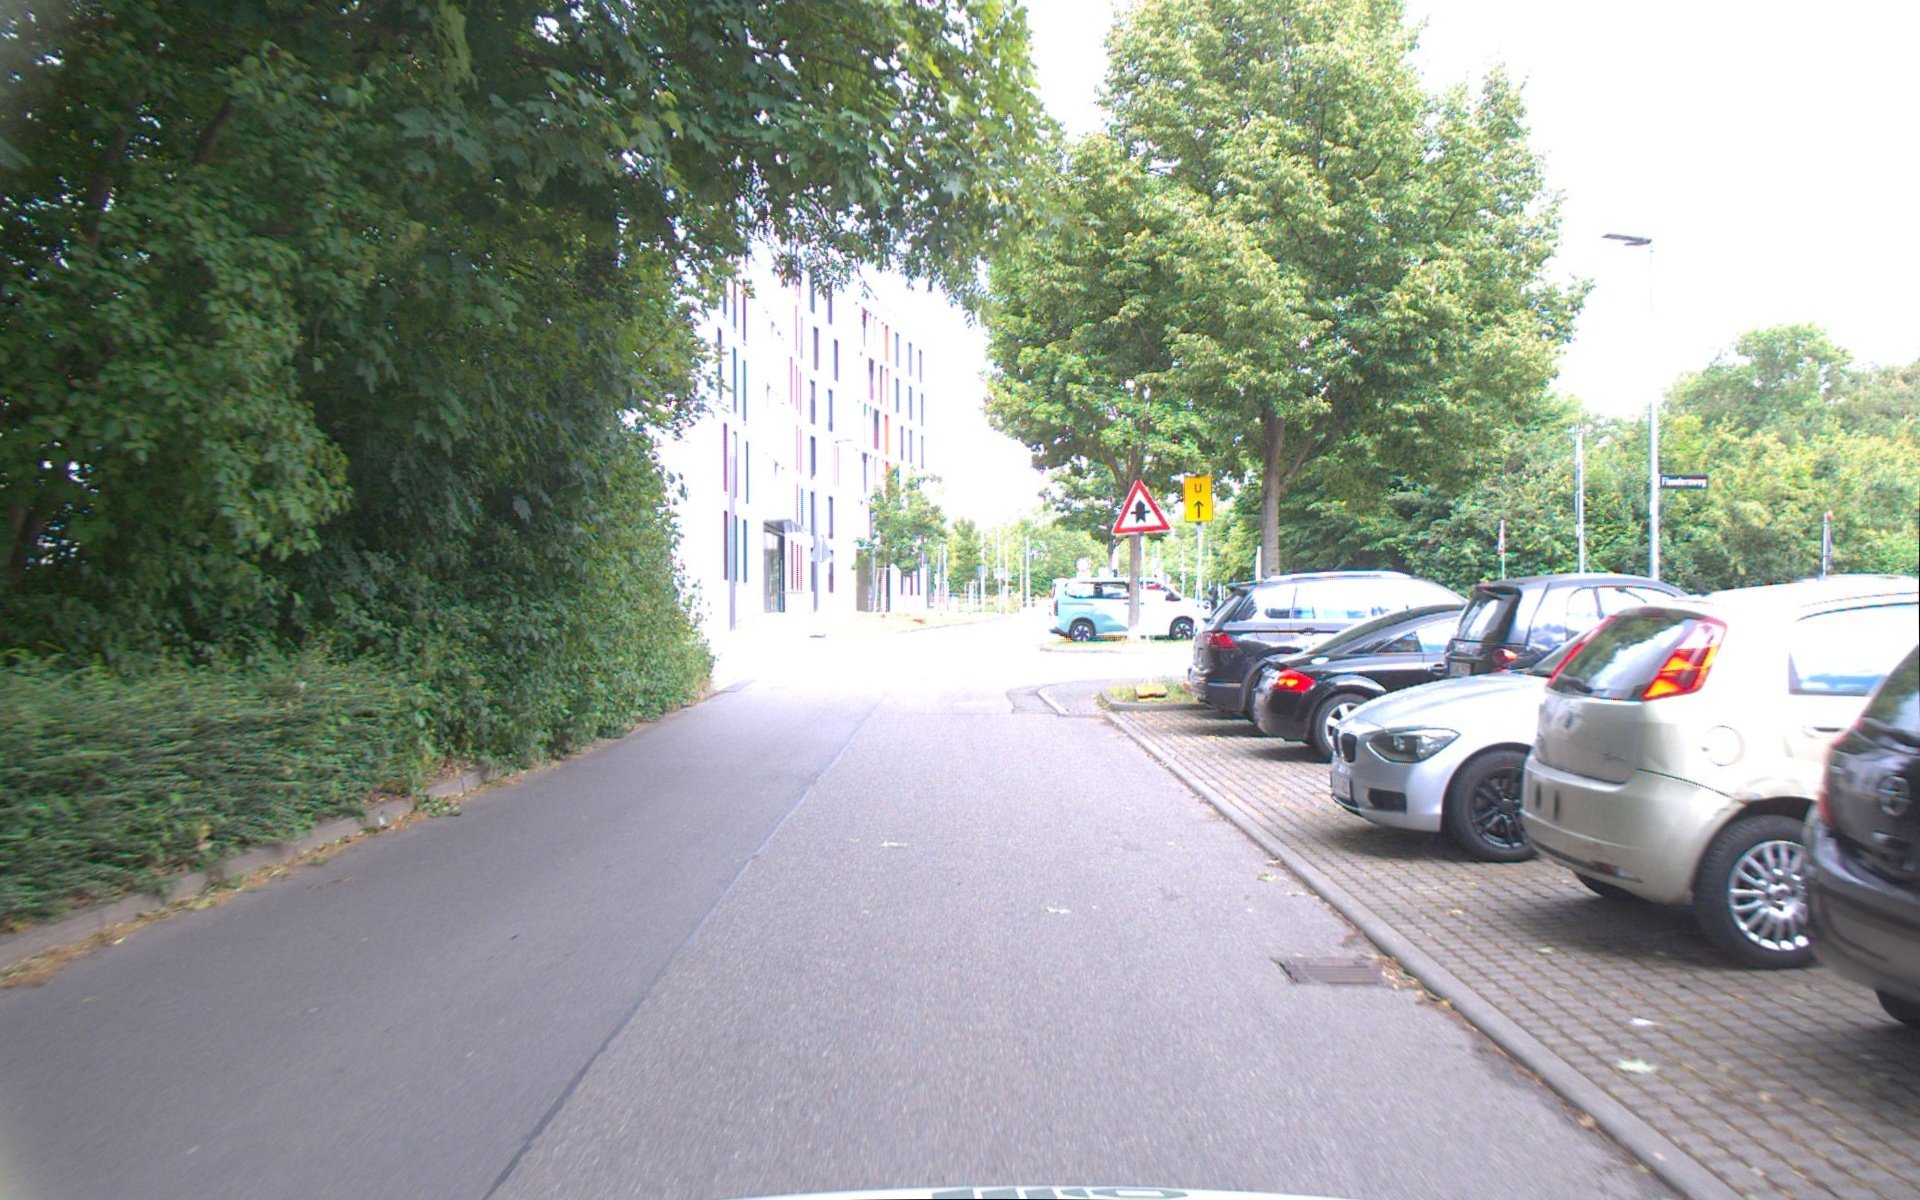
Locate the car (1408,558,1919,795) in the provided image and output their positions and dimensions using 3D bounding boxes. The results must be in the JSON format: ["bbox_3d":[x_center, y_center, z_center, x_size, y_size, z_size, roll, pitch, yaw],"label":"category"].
[{"bbox_3d":[5.563,0.536,12.625,3.754,1.585,1.819,-2,0,0],"label":"car"}]

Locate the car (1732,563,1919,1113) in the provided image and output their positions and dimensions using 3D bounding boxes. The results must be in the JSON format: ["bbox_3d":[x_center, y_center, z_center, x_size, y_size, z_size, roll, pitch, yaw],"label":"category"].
[{"bbox_3d":[4.618,0.591,4.811,3.879,1.537,1.764,-2,0,2],"label":"car"}]

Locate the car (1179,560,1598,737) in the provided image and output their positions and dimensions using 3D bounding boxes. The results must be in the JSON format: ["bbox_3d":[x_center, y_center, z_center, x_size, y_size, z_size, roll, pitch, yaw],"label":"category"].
[{"bbox_3d":[4.483,0.505,17.838,4.037,1.679,1.981,-2,0,4],"label":"car"}]

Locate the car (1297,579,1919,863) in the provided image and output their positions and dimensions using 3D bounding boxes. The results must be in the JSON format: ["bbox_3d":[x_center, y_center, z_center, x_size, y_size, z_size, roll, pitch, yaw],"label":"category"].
[{"bbox_3d":[4.209,0.653,10.027,3.905,1.455,1.935,-2,0,0],"label":"car"}]

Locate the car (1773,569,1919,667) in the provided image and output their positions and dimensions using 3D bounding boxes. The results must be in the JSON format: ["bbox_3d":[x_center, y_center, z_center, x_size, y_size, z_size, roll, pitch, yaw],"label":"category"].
[{"bbox_3d":[16.922,0.313,29.783,3.699,1.697,1.769,-1,0,7],"label":"car"}]

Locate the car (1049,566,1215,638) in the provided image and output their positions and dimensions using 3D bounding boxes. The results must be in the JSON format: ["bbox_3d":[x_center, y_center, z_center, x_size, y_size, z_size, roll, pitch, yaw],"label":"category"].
[{"bbox_3d":[5.215,0.048,50.576,4.870,2.006,1.847,-2,0,1],"label":"car"}]

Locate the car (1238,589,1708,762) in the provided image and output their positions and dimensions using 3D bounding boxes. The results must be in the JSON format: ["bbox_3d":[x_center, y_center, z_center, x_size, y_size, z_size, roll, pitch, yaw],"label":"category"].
[{"bbox_3d":[4.549,0.662,15.128,3.752,1.382,1.823,-2,0,4],"label":"car"}]

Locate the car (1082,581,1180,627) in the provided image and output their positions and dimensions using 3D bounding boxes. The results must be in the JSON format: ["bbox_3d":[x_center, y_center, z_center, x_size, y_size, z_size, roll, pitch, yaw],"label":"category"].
[{"bbox_3d":[7.618,0.168,73.952,4.286,1.937,1.938,1,0,5],"label":"car"}]

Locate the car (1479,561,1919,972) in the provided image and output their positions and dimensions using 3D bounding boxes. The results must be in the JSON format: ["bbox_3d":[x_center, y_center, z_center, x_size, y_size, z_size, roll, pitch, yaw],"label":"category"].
[{"bbox_3d":[4.540,0.606,7.298,3.905,1.554,1.811,-2,0,1],"label":"car"}]

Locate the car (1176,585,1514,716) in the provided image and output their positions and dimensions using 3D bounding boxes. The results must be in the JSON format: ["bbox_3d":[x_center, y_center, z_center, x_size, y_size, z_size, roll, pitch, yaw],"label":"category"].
[{"bbox_3d":[4.662,0.604,20.452,3.753,1.427,1.852,-2,0,2],"label":"car"}]
